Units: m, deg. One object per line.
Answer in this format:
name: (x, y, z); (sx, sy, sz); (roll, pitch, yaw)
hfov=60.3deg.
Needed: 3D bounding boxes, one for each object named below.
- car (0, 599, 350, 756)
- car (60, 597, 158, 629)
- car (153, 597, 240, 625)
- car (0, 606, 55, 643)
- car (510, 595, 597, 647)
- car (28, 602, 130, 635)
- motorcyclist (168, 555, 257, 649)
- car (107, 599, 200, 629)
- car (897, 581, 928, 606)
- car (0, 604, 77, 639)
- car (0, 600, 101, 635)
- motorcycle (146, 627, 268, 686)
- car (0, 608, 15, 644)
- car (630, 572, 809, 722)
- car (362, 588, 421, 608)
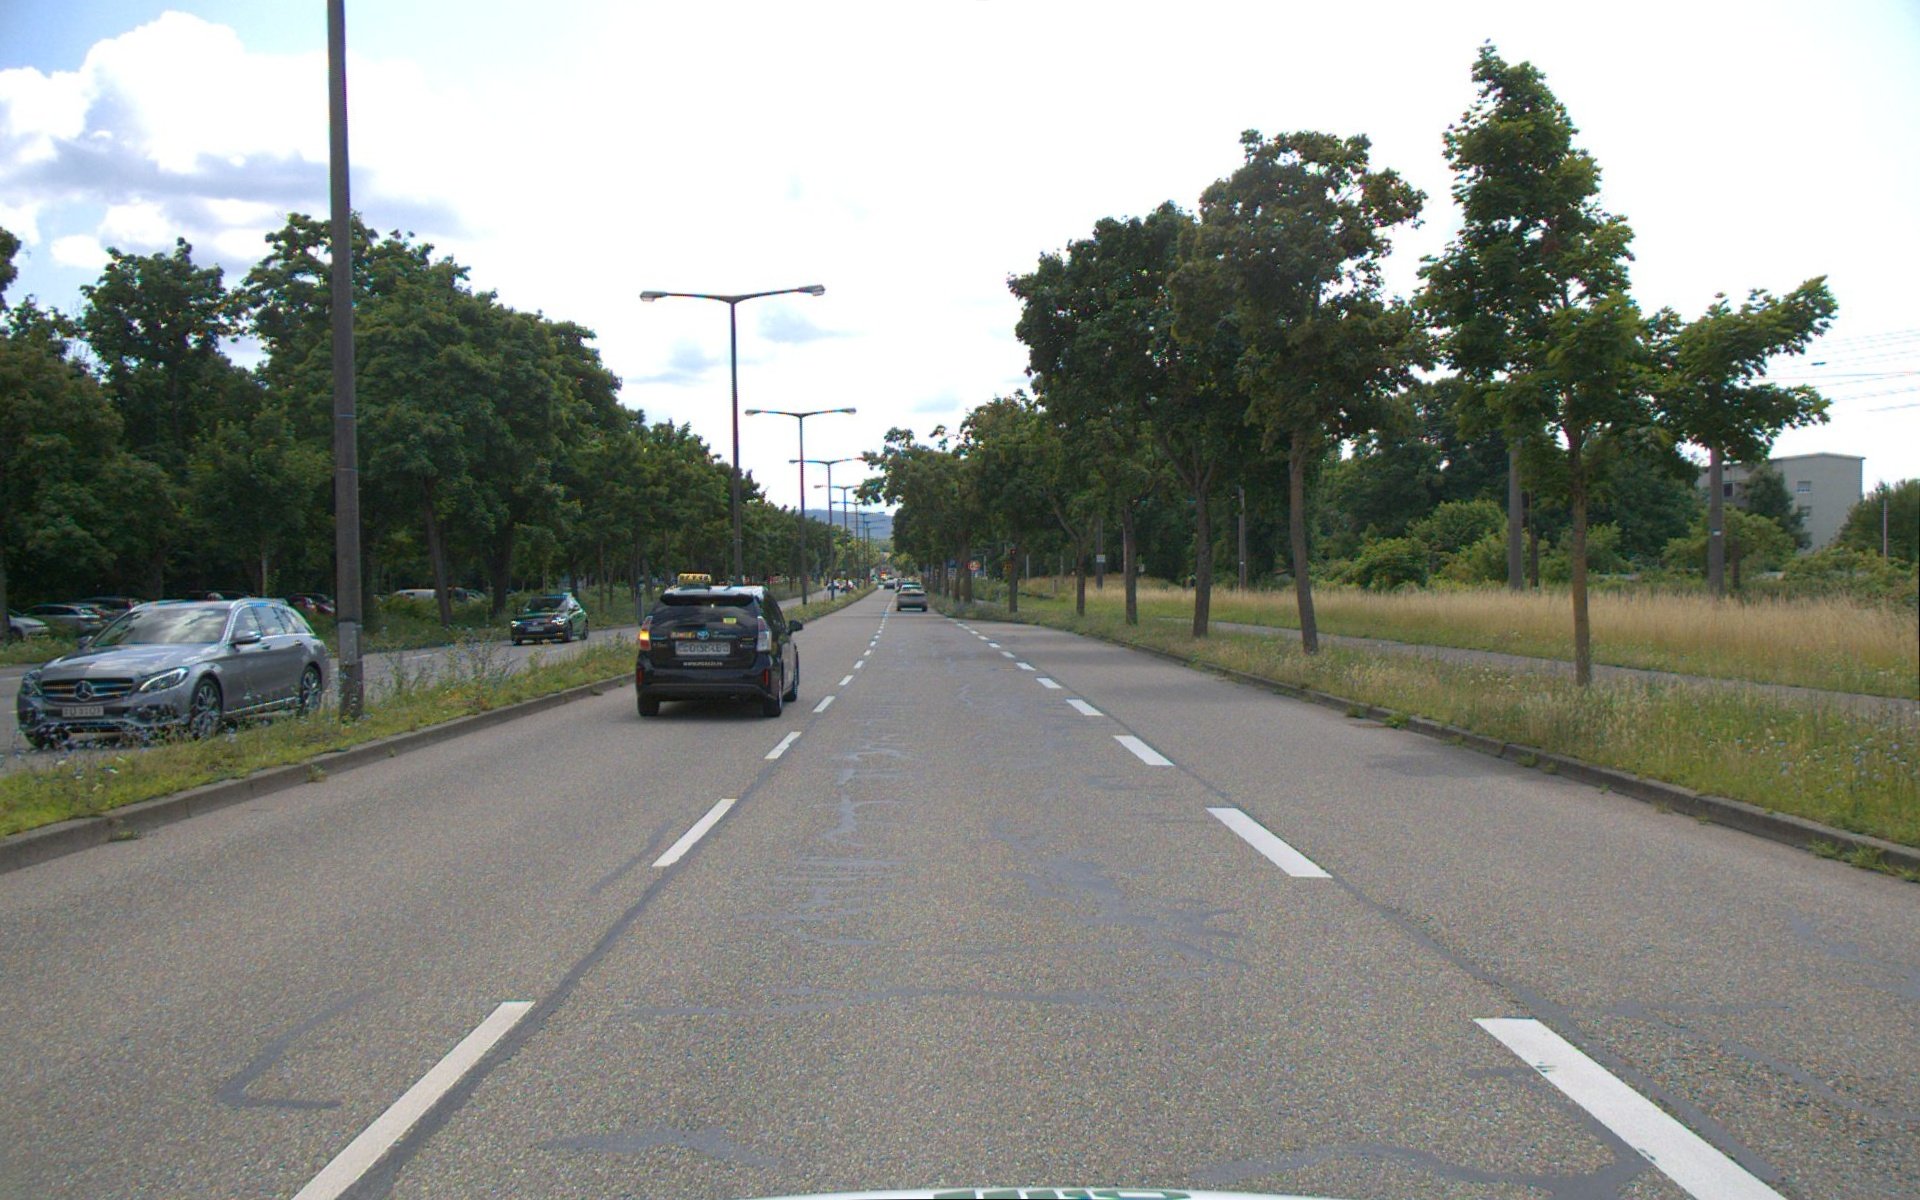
car: (-8.603, 0.756, 18.612); (1.774, 1.422, 4.733); (-1, 1, -1)
car: (-40.276, 0.601, 78.301); (3.706, 1.412, 1.786); (1, 1, 3)
car: (-39.958, 0.570, 86.600); (3.706, 1.412, 1.786); (1, 1, 3)
car: (-39.684, 0.988, 68.253); (3.706, 1.412, 1.786); (1, 1, 3)
car: (-12.642, 0.618, 51.646); (1.719, 1.484, 4.468); (0, 1, -2)
car: (-40.263, 0.818, 75.642); (3.705, 1.412, 1.787); (1, 1, 4)
motorcyclist: (-11.814, 0.017, 26.178); (0.810, 1.438, 1.328); (0, 1, -1)
car: (-39.984, 0.693, 82.066); (3.706, 1.412, 1.786); (1, 1, 3)
car: (-3.057, -0.429, 105.964); (1.954, 1.534, 3.998); (0, 1, -3)
car: (-39.827, 0.907, 70.254); (3.706, 1.412, 1.786); (1, 1, 3)
car: (-39.998, 0.757, 72.574); (3.706, 1.412, 1.786); (1, 1, 3)
motorcycle: (-11.849, 0.865, 26.141); (0.736, 0.785, 2.671); (1, 1, -1)
car: (-39.834, 1.023, 65.555); (3.706, 1.412, 1.786); (1, 1, 3)
car: (-2.977, 0.511, 21.202); (1.743, 1.713, 4.000); (1, 1, -1)
car: (-42.081, -0.141, 122.446); (3.706, 1.412, 1.786); (1, 1, 3)
